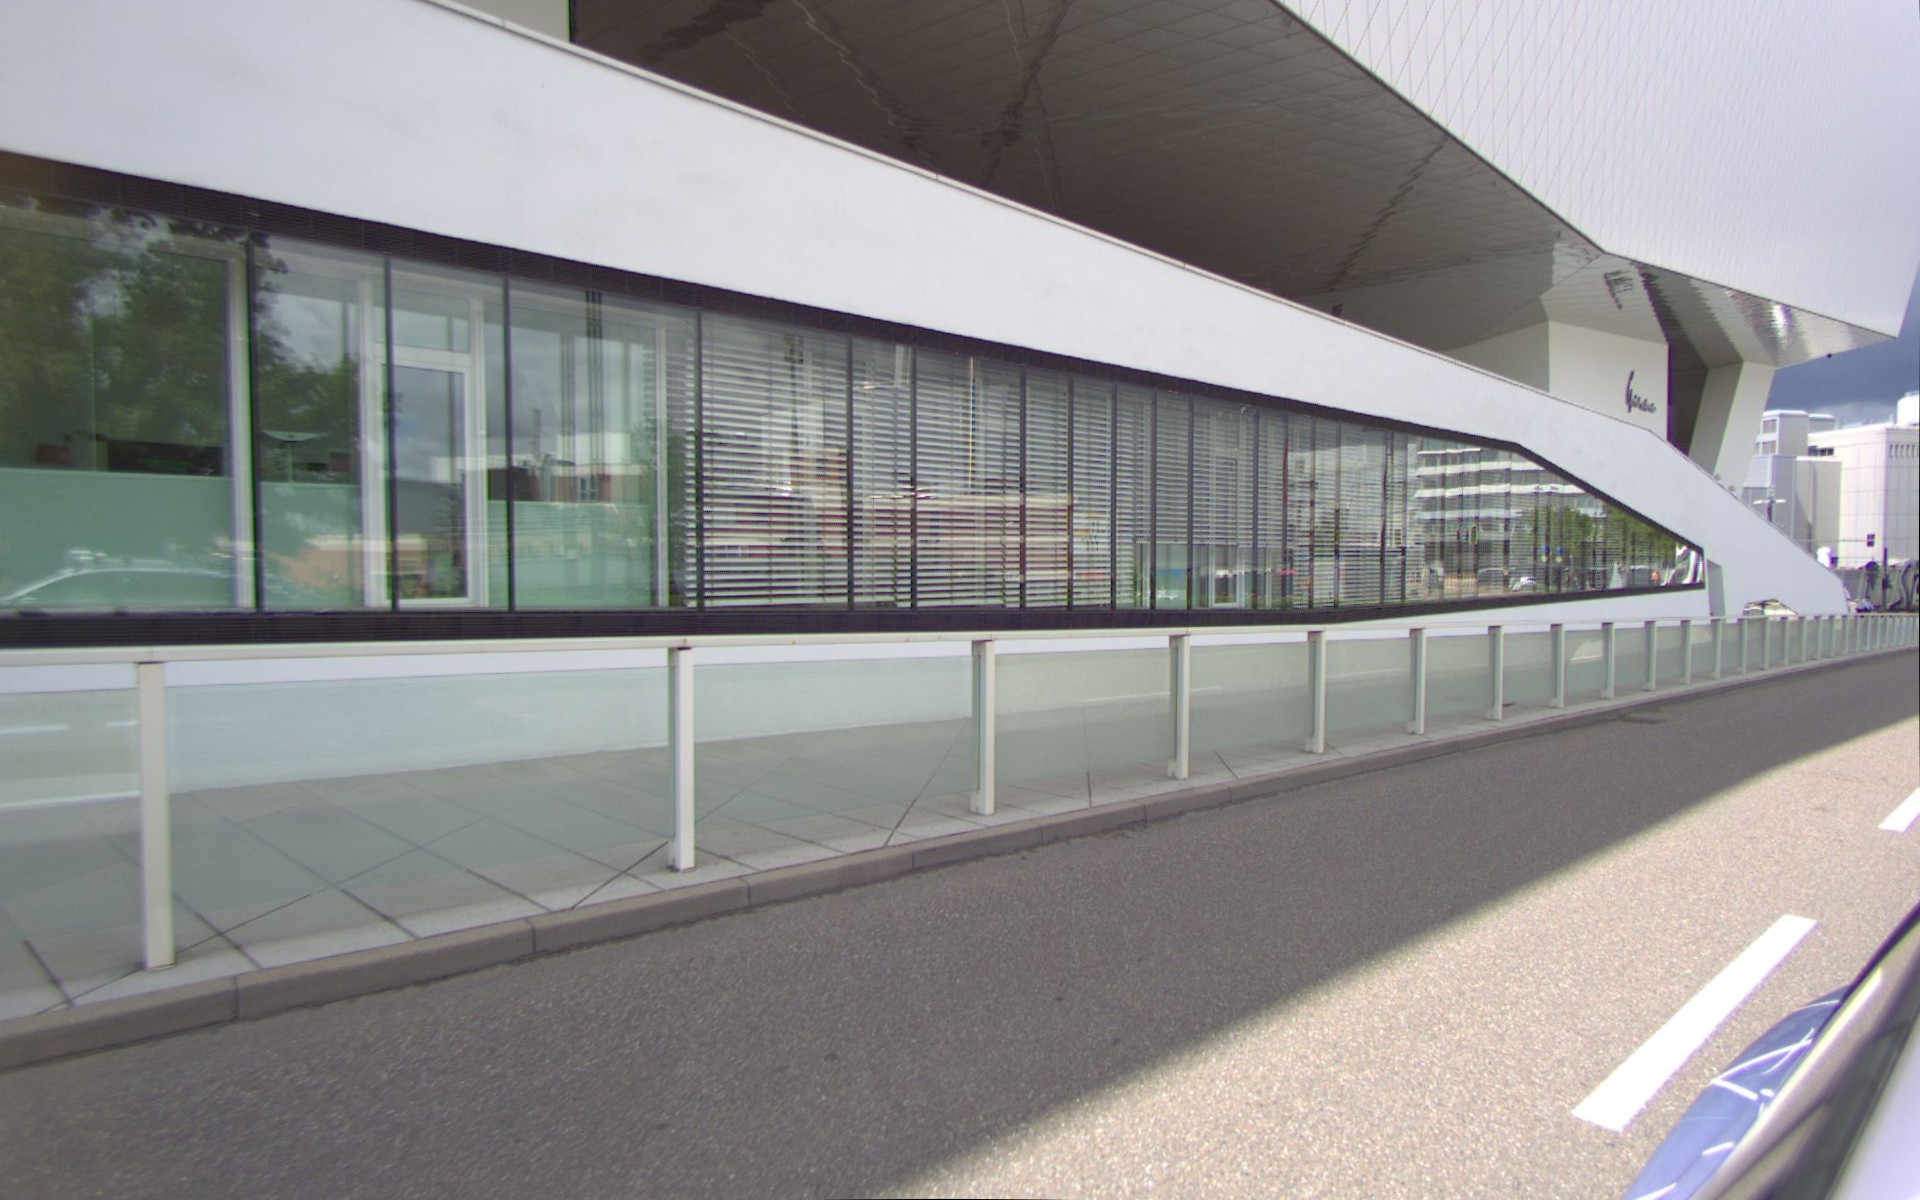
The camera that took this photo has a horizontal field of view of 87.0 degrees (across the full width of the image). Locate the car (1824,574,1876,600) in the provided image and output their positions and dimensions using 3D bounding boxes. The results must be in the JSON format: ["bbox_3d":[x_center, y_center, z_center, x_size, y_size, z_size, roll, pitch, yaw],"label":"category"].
[{"bbox_3d":[68.648,-1.001,78.047,5.209,1.934,2.163,-1,2,-39],"label":"car"}]

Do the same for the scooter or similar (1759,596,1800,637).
[{"bbox_3d":[26.882,0.524,33.195,1.918,1.258,0.707,-1,2,-41],"label":"scooter or similar"}]

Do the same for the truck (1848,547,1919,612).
[{"bbox_3d":[57.507,-1.210,60.506,2.810,3.736,10.683,2,2,20],"label":"truck"}]
